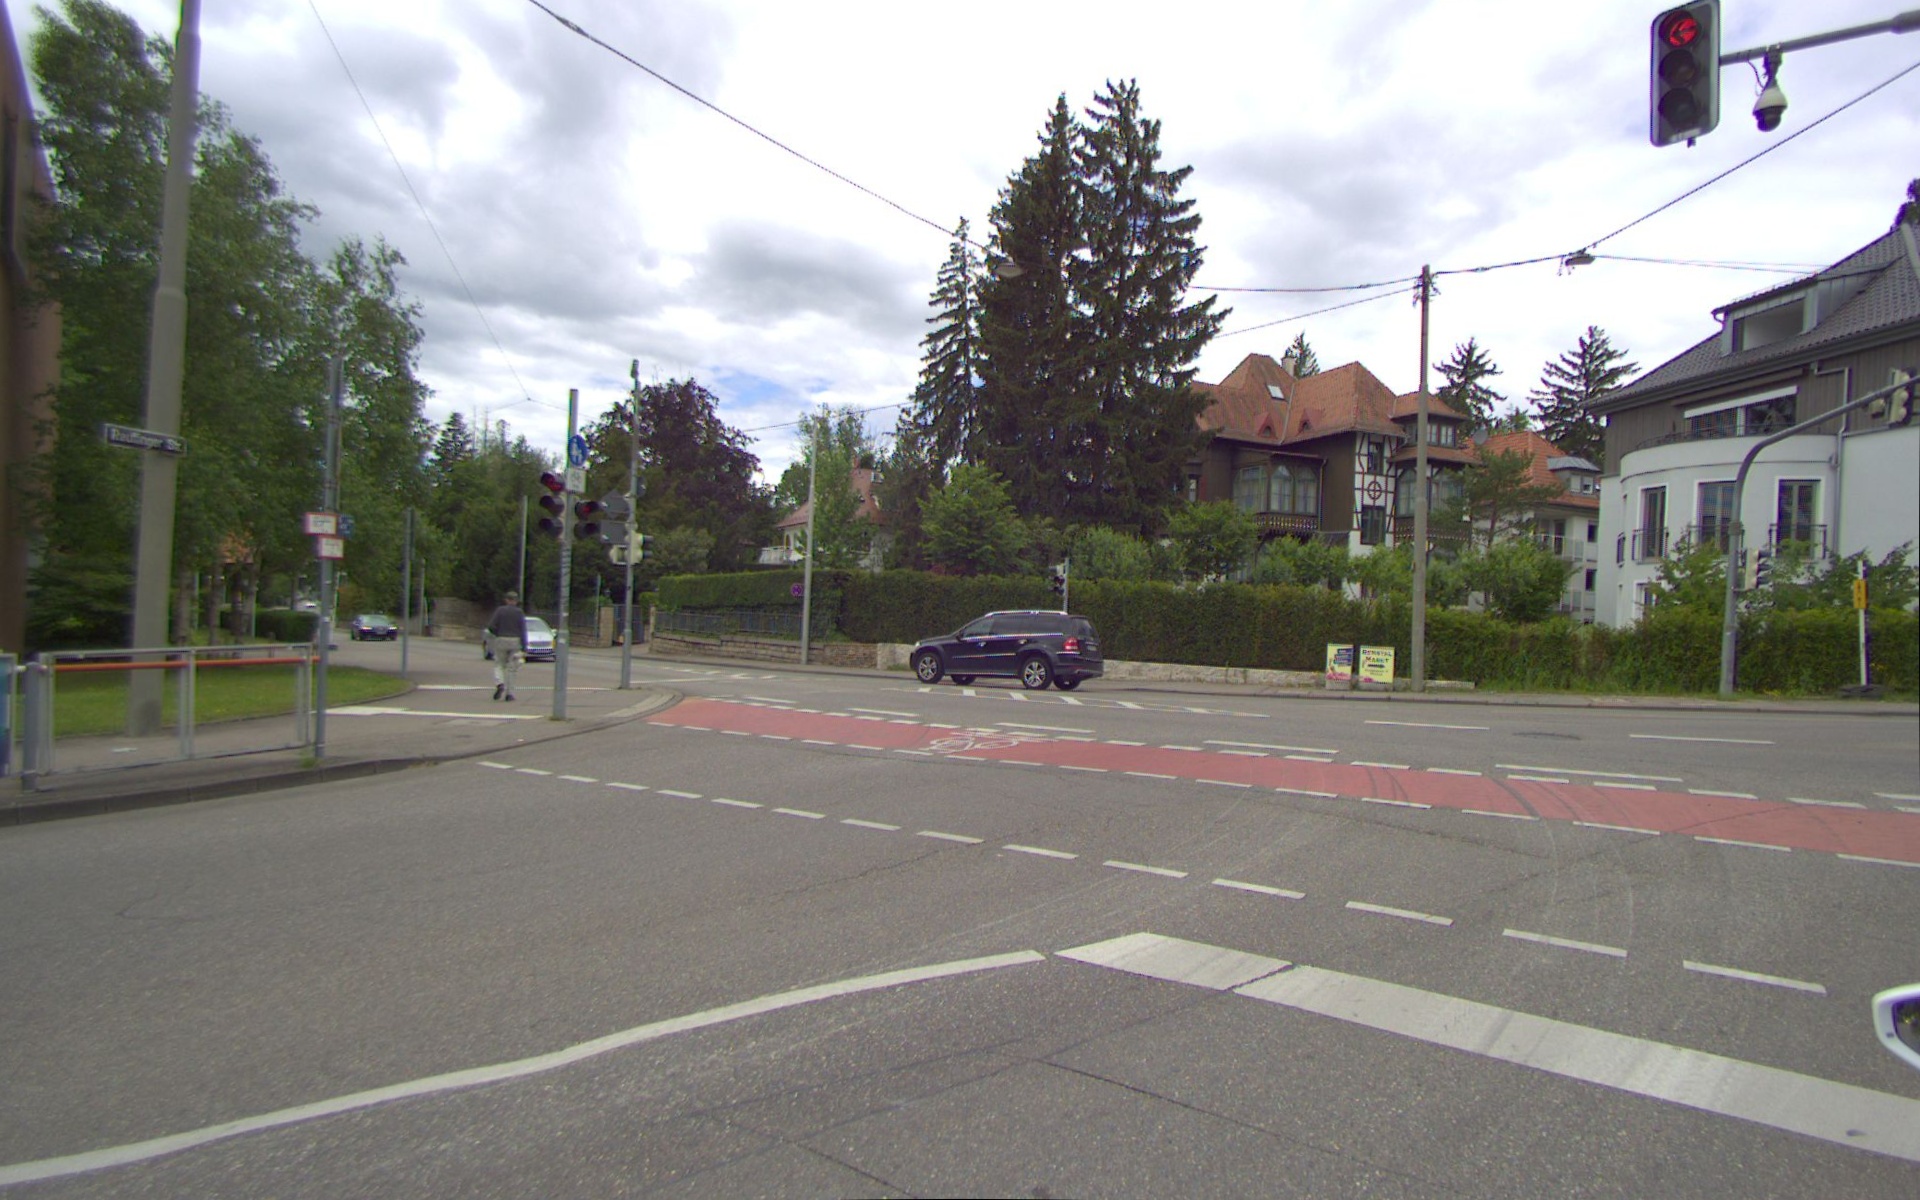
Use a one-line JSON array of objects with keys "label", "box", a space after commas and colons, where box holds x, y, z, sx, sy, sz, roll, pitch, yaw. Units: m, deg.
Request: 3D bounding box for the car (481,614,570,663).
[{"label": "car", "box": [-14.359, 1.228, 33.068, 1.694, 1.432, 4.377, 1, 0, -38]}]

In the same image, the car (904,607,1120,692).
[{"label": "car", "box": [1.228, 1.162, 24.868, 5.052, 1.905, 1.914, 0, -2, 32]}]

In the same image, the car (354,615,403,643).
[{"label": "car", "box": [-33.412, 1.642, 57.687, 1.816, 1.556, 3.955, 2, -2, -39]}]

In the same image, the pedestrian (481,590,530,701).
[{"label": "pedestrian", "box": [-6.988, 0.688, 15.454, 0.674, 1.655, 0.736, 0, -1, -24]}]
